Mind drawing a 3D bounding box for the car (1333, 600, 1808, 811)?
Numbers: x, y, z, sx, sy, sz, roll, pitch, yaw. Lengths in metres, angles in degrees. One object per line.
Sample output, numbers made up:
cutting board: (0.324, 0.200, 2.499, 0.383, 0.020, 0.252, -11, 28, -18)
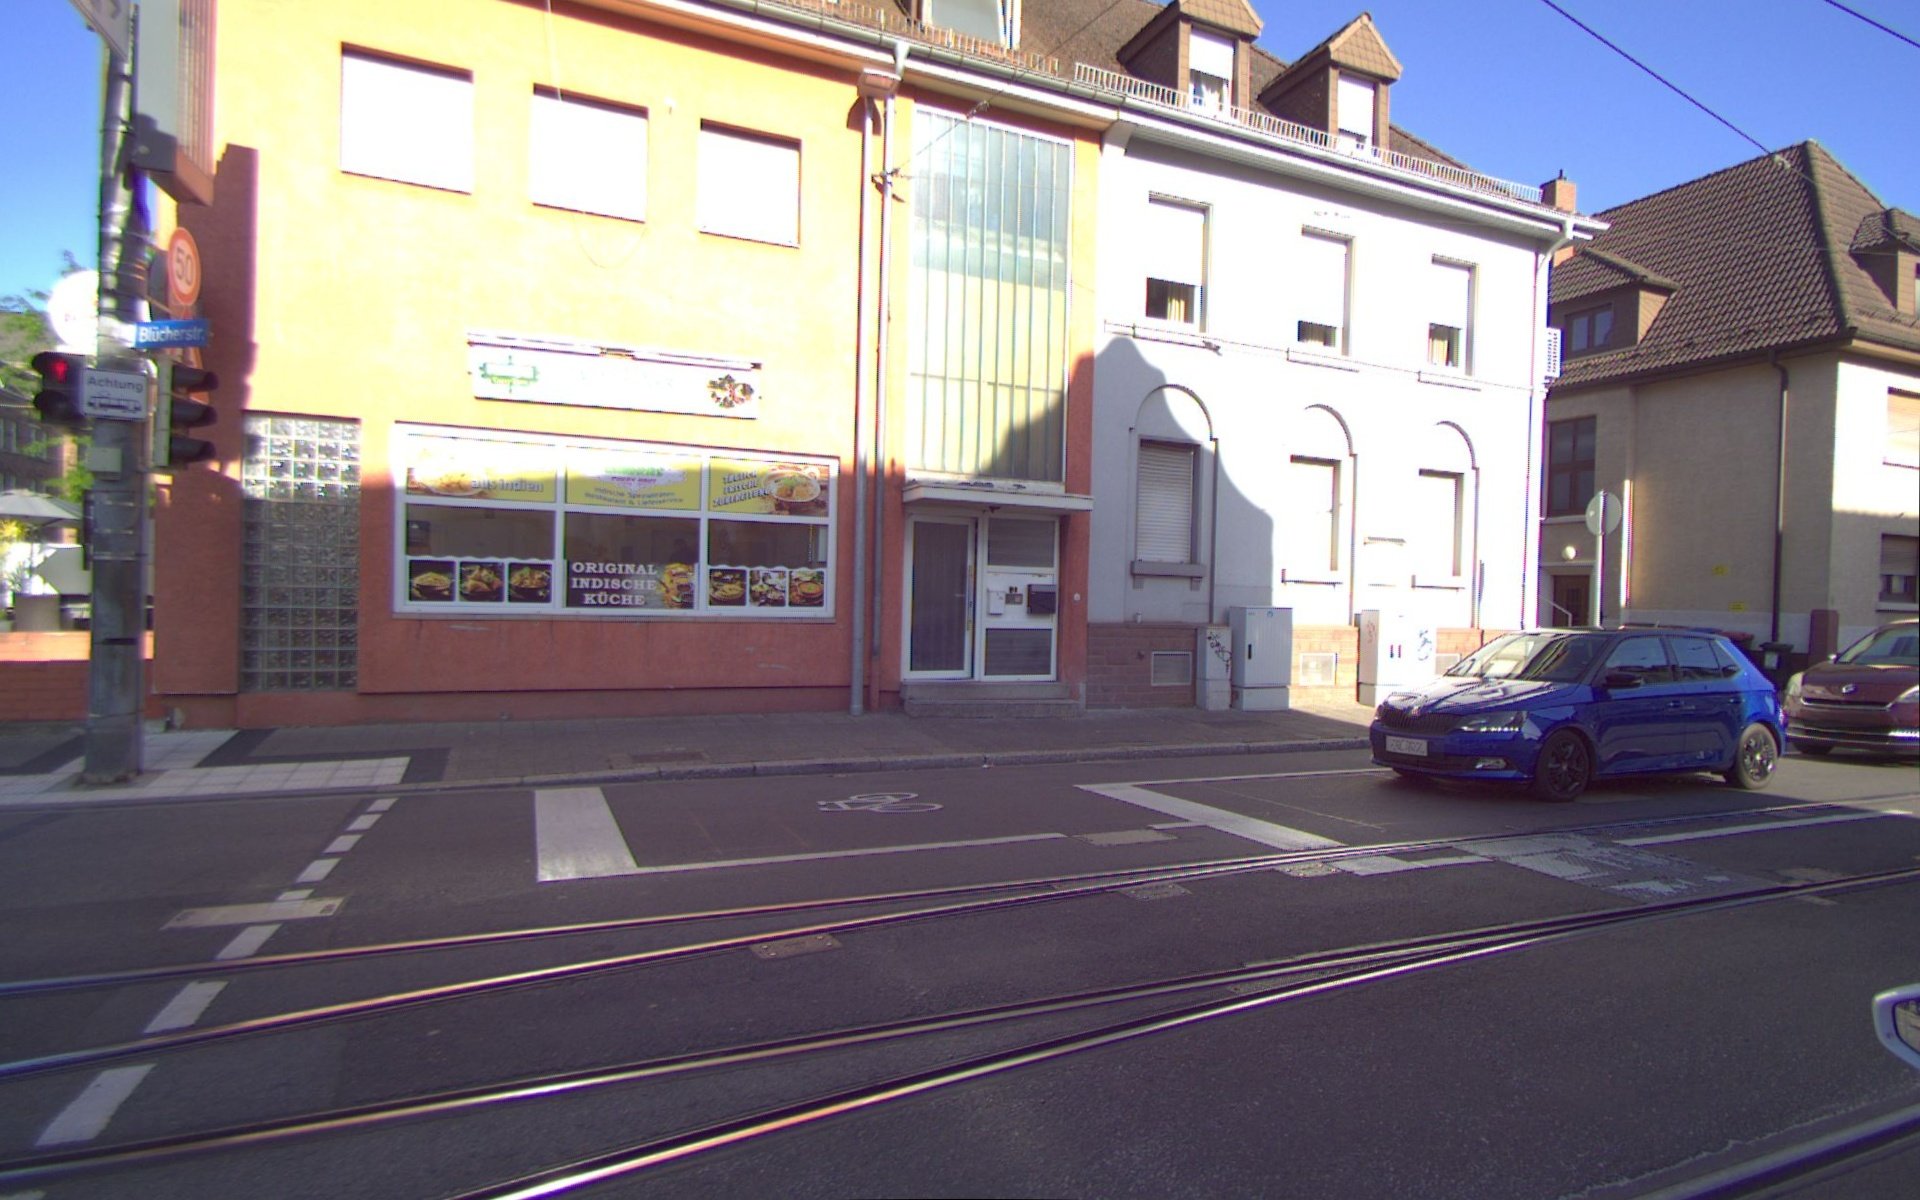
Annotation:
car: (5.494, 0.858, 9.077, 3.870, 1.588, 1.681, 1, -2, -21)

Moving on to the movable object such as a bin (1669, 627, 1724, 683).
movable object such as a bin: (15.893, 1.180, 21.678, 0.663, 1.126, 0.640, 1, 3, -23)

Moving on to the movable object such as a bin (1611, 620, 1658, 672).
movable object such as a bin: (15.362, 1.044, 22.886, 0.582, 1.126, 0.613, 1, 3, -23)

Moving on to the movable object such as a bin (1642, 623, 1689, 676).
movable object such as a bin: (15.638, 1.091, 22.269, 0.582, 1.126, 0.567, 1, 3, -23)

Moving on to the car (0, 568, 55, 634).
car: (-27.853, -0.030, 28.548, 1.944, 1.687, 4.222, 5, 0, -25)

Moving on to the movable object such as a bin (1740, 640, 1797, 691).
movable object such as a bin: (16.472, 1.319, 20.473, 0.574, 0.957, 0.656, 1, 3, -23)

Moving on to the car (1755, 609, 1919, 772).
car: (11.624, 0.974, 11.528, 4.642, 1.632, 1.736, 1, -1, -19)

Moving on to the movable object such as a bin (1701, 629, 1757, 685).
movable object such as a bin: (16.099, 1.182, 21.031, 0.663, 1.094, 0.614, 1, 3, -23)
